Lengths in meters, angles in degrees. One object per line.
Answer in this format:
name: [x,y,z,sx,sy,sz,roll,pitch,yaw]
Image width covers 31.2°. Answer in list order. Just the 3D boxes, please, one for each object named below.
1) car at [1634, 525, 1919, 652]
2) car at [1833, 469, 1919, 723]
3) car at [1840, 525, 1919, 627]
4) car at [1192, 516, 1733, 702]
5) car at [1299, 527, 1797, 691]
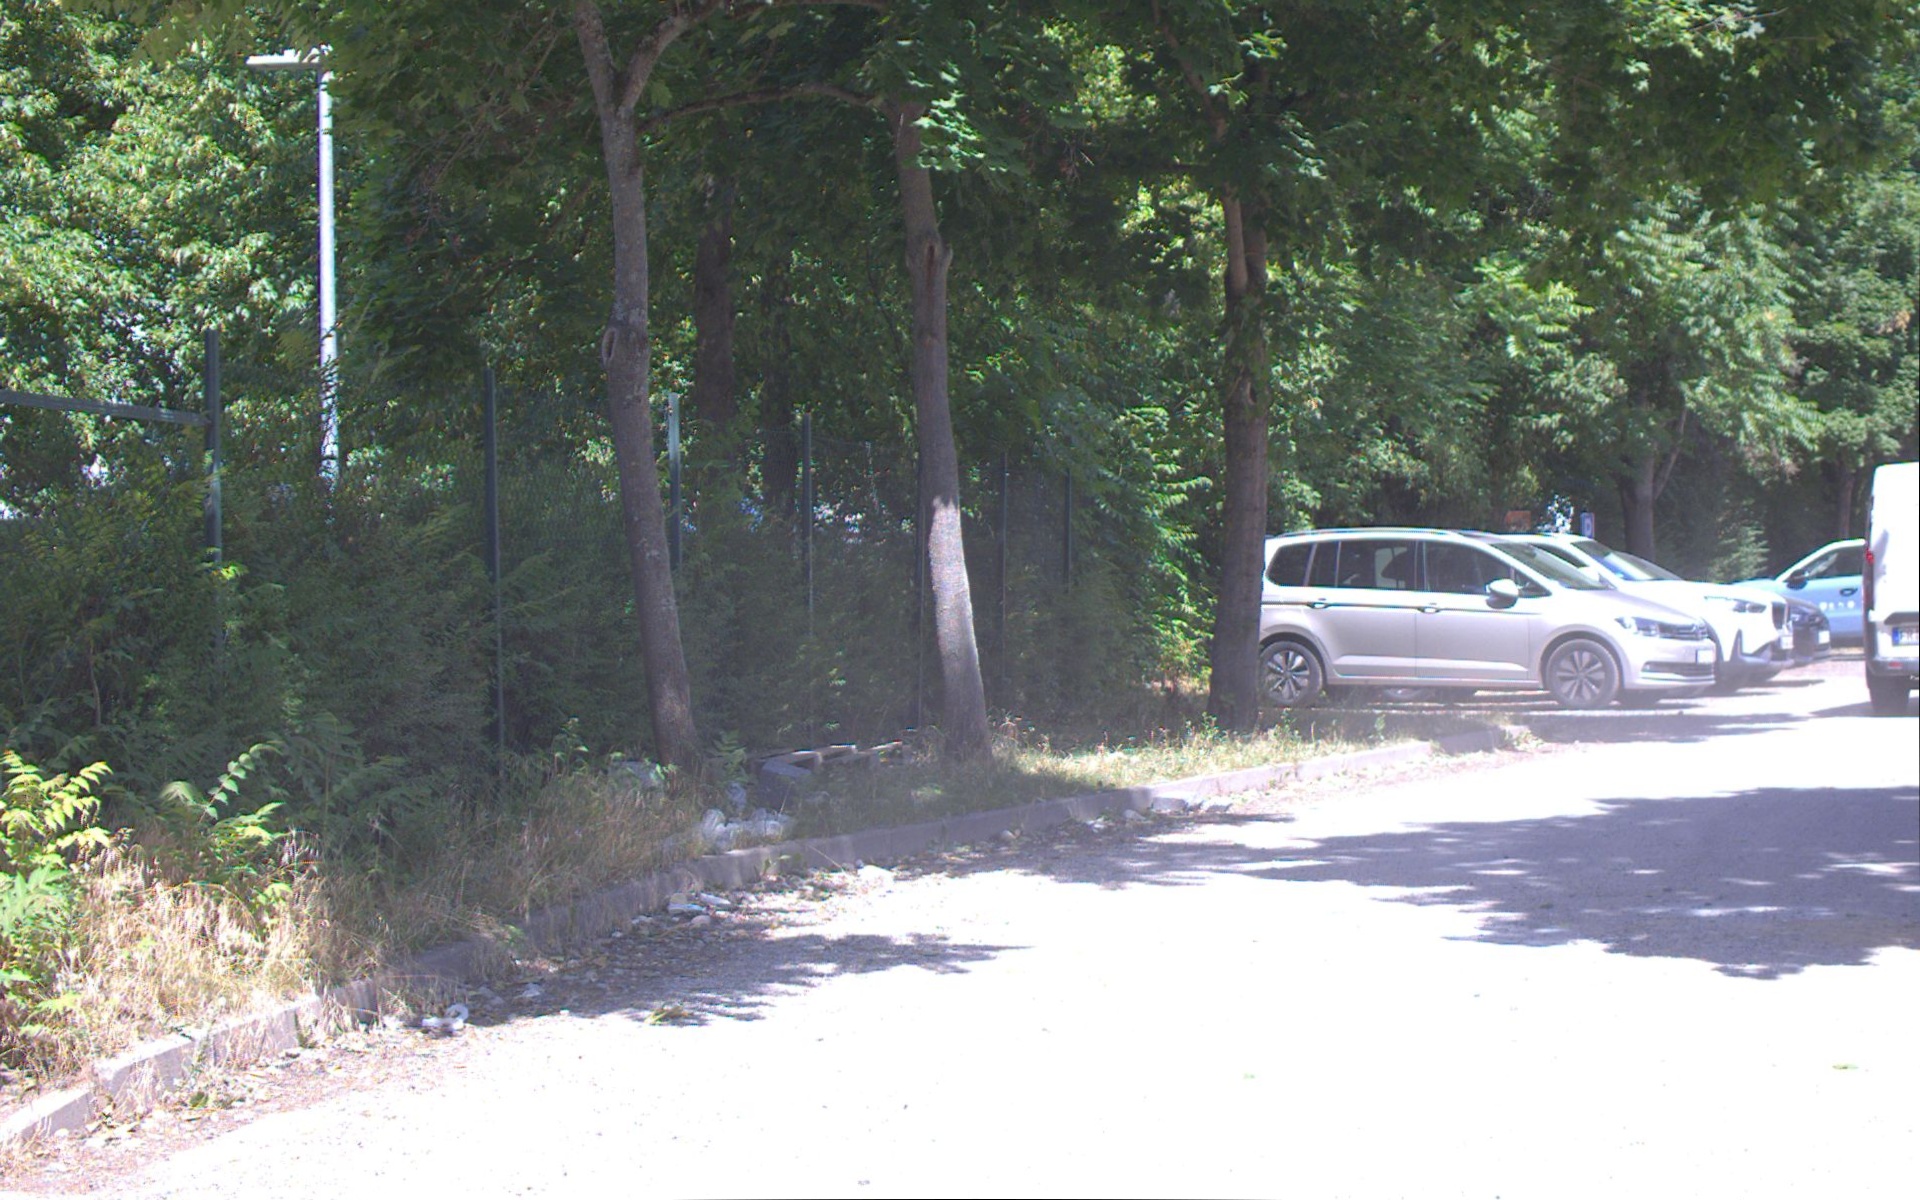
car: [11.301,-0.156,45.128,4.512,1.592,1.723,0,2,26]
car: [8.752,-0.082,28.144,1.976,1.940,4.574,-1,1,29]
car: [16.468,-0.402,54.705,4.512,1.592,1.723,0,2,26]
car: [4.605,0.104,31.582,4.512,1.604,1.997,0,-1,27]
car: [5.772,0.076,33.828,4.512,1.526,1.723,0,1,26]
